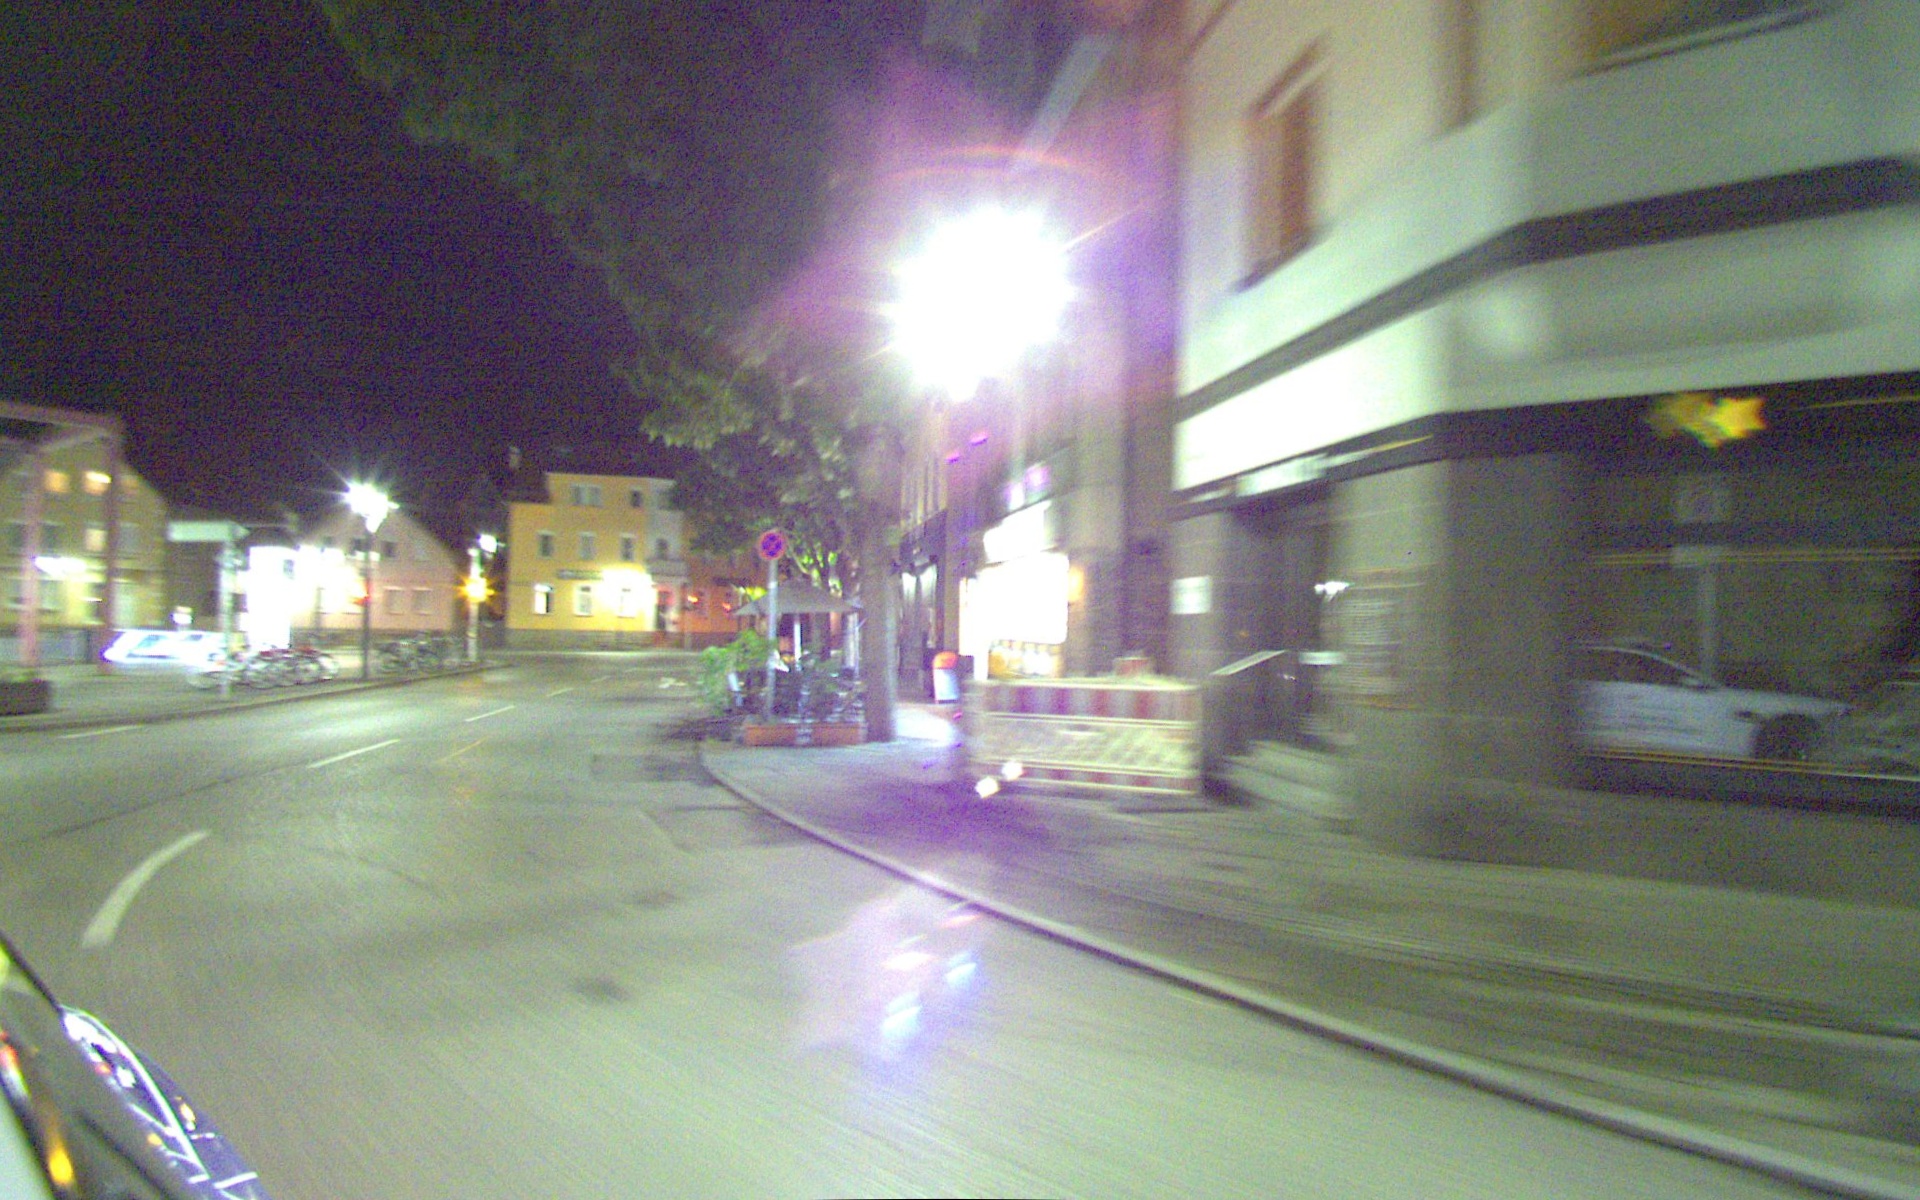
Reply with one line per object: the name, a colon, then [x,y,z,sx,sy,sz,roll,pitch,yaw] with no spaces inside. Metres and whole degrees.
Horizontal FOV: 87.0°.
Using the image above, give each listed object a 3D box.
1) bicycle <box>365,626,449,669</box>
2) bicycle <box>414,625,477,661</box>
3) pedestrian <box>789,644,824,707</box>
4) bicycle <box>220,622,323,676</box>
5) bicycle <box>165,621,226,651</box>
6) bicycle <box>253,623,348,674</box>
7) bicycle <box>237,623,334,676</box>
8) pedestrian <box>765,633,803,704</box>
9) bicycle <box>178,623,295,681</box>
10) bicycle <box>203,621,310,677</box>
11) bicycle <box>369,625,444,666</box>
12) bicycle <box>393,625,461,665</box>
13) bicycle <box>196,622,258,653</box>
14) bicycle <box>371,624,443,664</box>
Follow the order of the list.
bicycle: [-15.065,1.283,27.614,1.839,1.143,0.727,1,-2,-14]
bicycle: [-16.612,1.390,32.693,1.633,1.149,0.830,1,-2,-12]
pedestrian: [-2.969,1.455,19.556,0.567,1.173,0.680,1,-2,-16]
bicycle: [-15.190,1.080,22.368,1.748,1.160,0.584,1,-2,-13]
bicycle: [-29.773,1.411,39.438,0.647,1.136,1.786,0,-2,27]
bicycle: [-15.424,1.130,23.690,1.750,1.160,0.583,1,-2,-7]
bicycle: [-15.354,1.119,23.061,1.750,1.160,0.583,1,-2,-7]
pedestrian: [-3.511,1.363,20.193,0.666,1.389,0.578,1,-2,-16]
bicycle: [-14.851,1.067,20.817,1.758,1.160,0.762,1,-2,-13]
bicycle: [-15.002,1.047,21.617,1.748,1.160,0.615,1,-2,-13]
bicycle: [-15.710,1.288,28.763,1.764,1.143,0.631,1,-2,-14]
bicycle: [-15.644,1.330,29.744,1.632,1.143,0.644,1,-2,-12]
bicycle: [-27.577,1.402,38.090,0.647,1.136,1.786,0,-2,27]
bicycle: [-16.730,1.330,30.645,1.746,1.149,0.688,1,-2,-12]
